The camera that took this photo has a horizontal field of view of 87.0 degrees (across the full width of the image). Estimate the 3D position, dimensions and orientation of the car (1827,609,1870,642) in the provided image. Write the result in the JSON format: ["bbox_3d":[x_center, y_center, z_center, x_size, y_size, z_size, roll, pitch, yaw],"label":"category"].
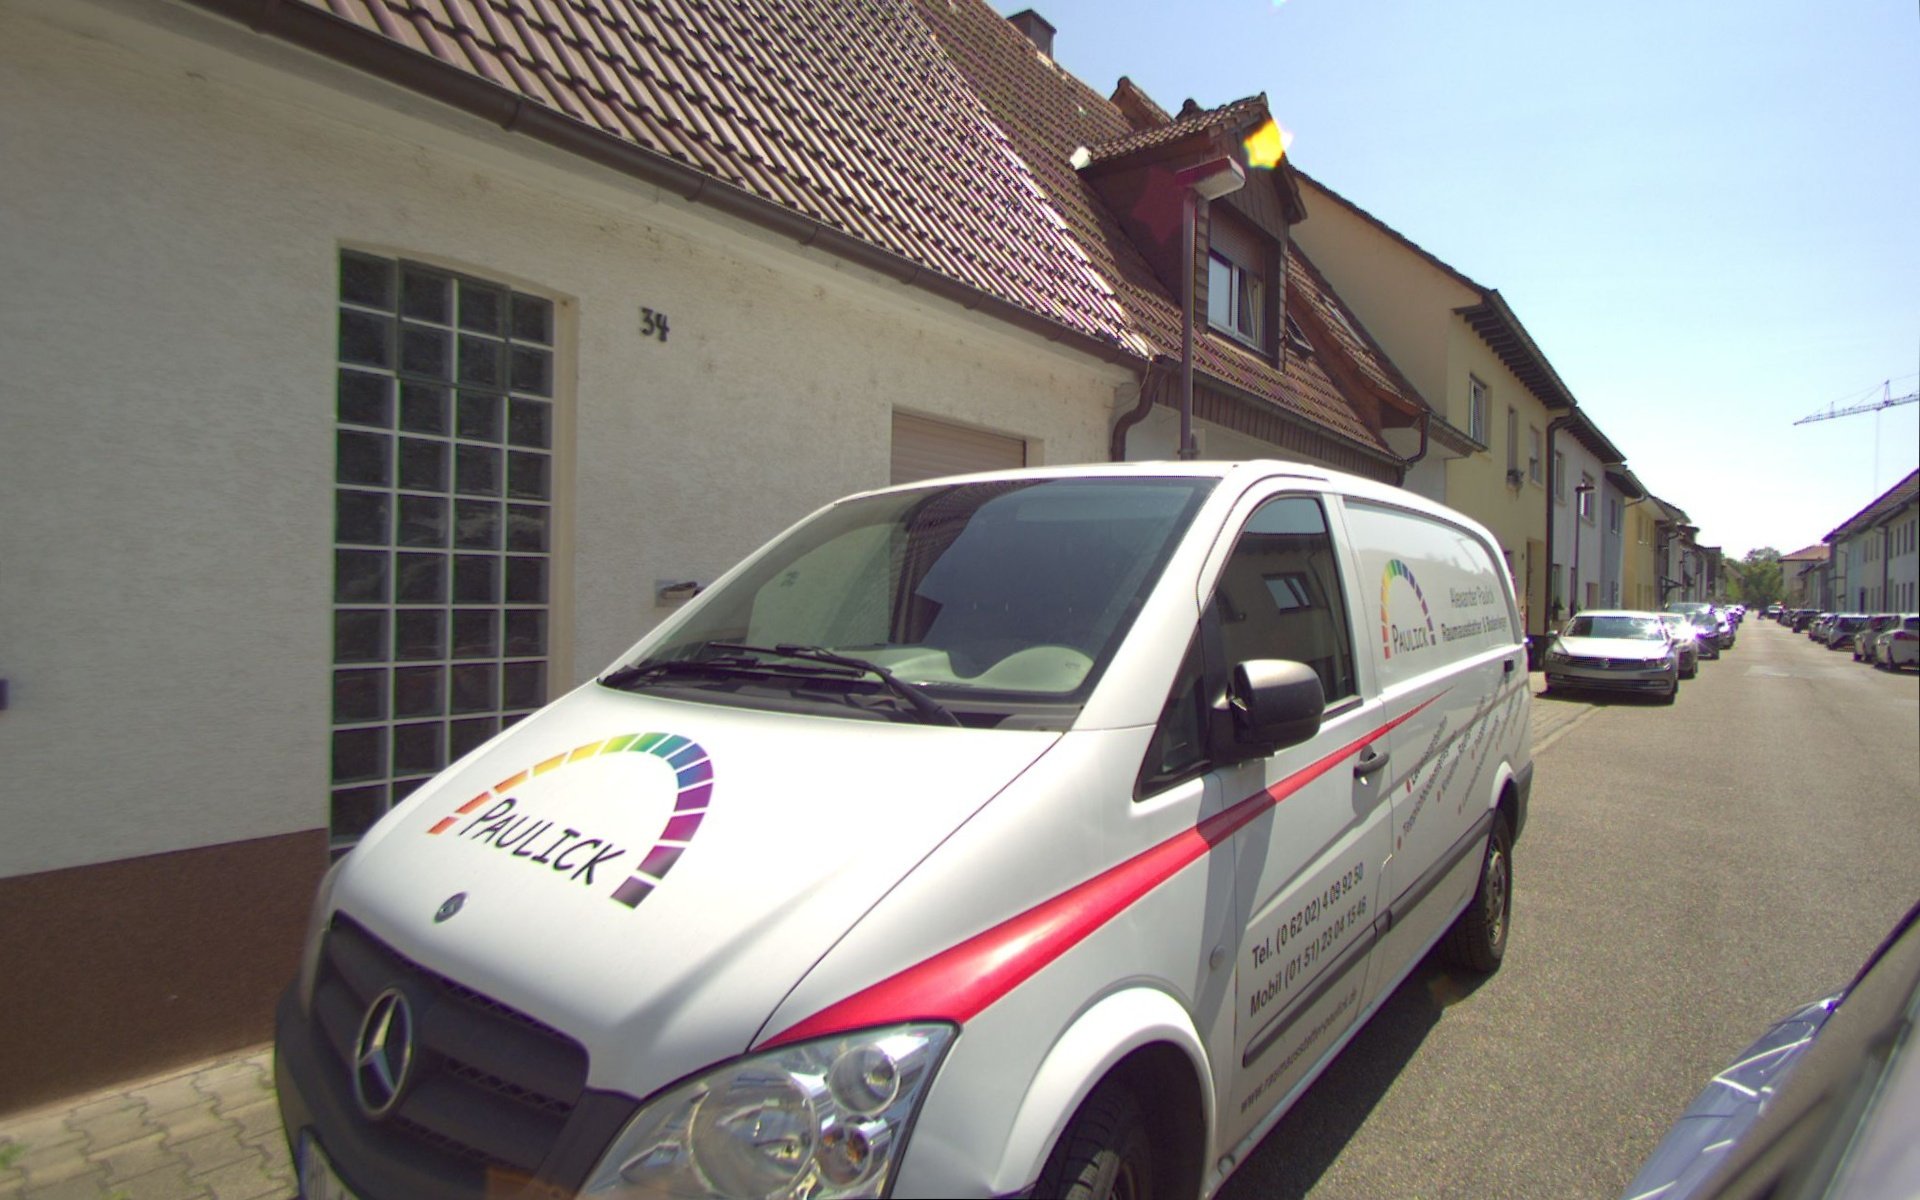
[{"bbox_3d":[42.803,1.197,48.798,1.409,1.473,3.412,2,1,39],"label":"car"}]

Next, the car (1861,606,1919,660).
[{"bbox_3d":[29.070,0.985,31.103,1.657,1.561,3.641,0,0,35],"label":"car"}]

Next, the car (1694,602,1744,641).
[{"bbox_3d":[33.151,0.882,44.264,1.675,1.604,3.910,0,0,36],"label":"car"}]

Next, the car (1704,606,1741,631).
[{"bbox_3d":[46.131,1.089,61.237,1.734,1.487,3.991,-1,0,37],"label":"car"}]

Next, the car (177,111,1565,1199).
[{"bbox_3d":[0.642,0.453,3.660,2.009,1.862,5.192,0,0,38],"label":"car"}]

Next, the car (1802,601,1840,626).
[{"bbox_3d":[59.418,0.880,69.891,1.811,1.627,3.834,2,1,38],"label":"car"}]

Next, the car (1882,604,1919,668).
[{"bbox_3d":[25.879,0.927,26.801,1.658,1.568,3.892,1,1,35],"label":"car"}]

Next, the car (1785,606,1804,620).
[{"bbox_3d":[88.443,1.393,107.290,1.408,1.414,3.277,2,1,38],"label":"car"}]

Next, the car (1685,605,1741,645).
[{"bbox_3d":[29.780,0.951,39.976,1.659,1.432,4.189,2,1,38],"label":"car"}]

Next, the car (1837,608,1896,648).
[{"bbox_3d":[36.619,1.107,40.937,1.600,1.461,3.167,2,1,39],"label":"car"}]

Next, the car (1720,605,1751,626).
[{"bbox_3d":[57.688,1.141,75.257,1.728,1.530,3.573,-1,0,38],"label":"car"}]

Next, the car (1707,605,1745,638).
[{"bbox_3d":[36.697,1.006,48.513,1.396,1.547,3.352,-1,0,37],"label":"car"}]

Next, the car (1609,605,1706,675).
[{"bbox_3d":[16.335,0.863,23.618,1.692,1.453,4.047,0,0,37],"label":"car"}]

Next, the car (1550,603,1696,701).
[{"bbox_3d":[11.740,0.792,17.782,1.834,1.467,4.712,0,0,37],"label":"car"}]

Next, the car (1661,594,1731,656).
[{"bbox_3d":[23.397,0.718,32.106,1.693,1.799,4.143,0,1,38],"label":"car"}]

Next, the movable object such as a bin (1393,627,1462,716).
[{"bbox_3d":[6.106,0.912,13.204,0.657,1.085,0.802,1,0,37],"label":"movable object such as a bin"}]

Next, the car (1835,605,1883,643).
[{"bbox_3d":[39.693,1.019,44.722,1.409,1.547,2.982,2,1,39],"label":"car"}]
